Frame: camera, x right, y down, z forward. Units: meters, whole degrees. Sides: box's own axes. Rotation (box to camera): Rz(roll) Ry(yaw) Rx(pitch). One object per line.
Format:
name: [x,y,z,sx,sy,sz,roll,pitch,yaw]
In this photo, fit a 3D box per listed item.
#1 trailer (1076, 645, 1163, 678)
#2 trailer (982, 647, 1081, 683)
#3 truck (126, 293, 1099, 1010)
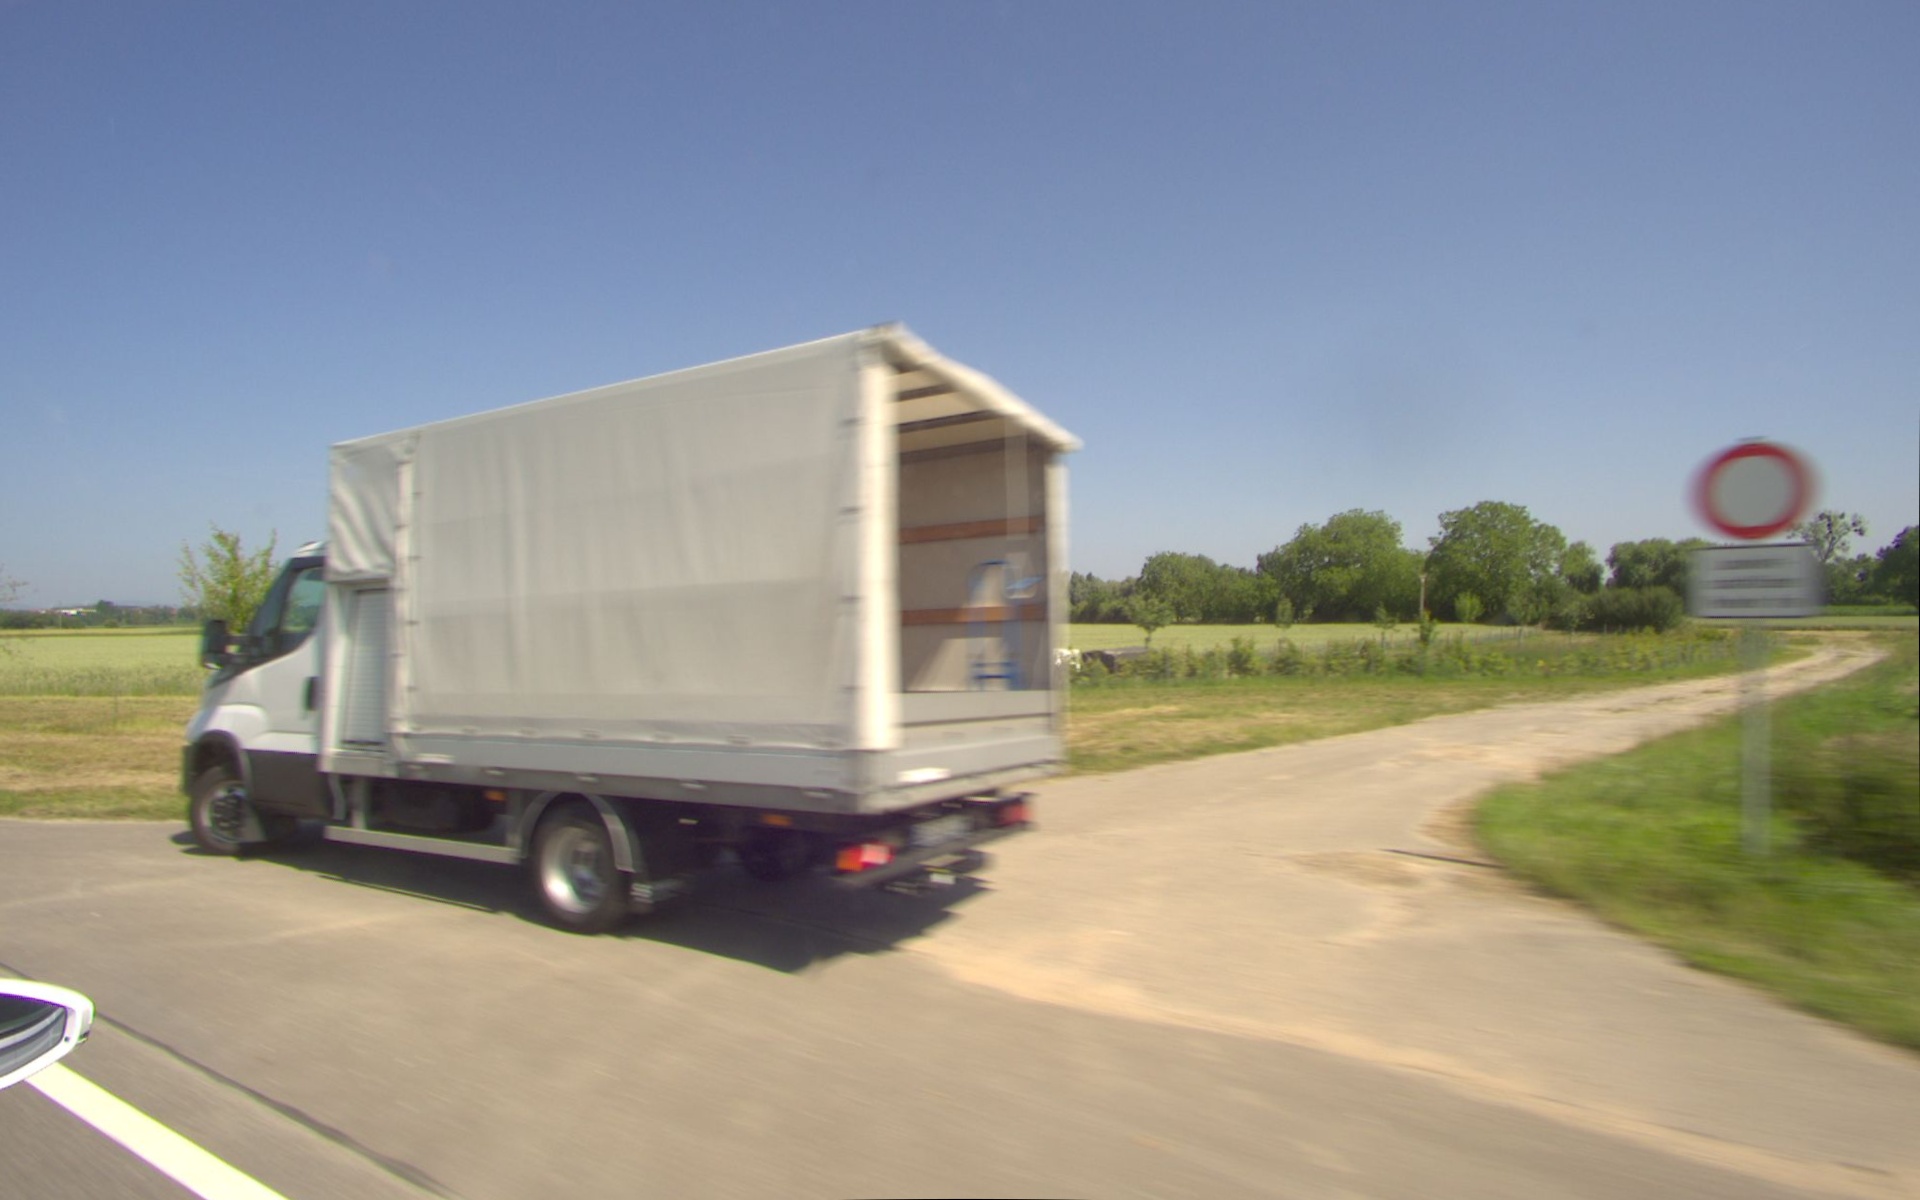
trailer: [6.203,2.352,38.685,1.646,1.204,3.519,-2,-3,43]
trailer: [2.564,2.269,35.384,1.646,1.204,3.566,-2,-3,43]
truck: [-2.710,0.328,6.908,6.904,2.978,2.335,-1,-4,30]
